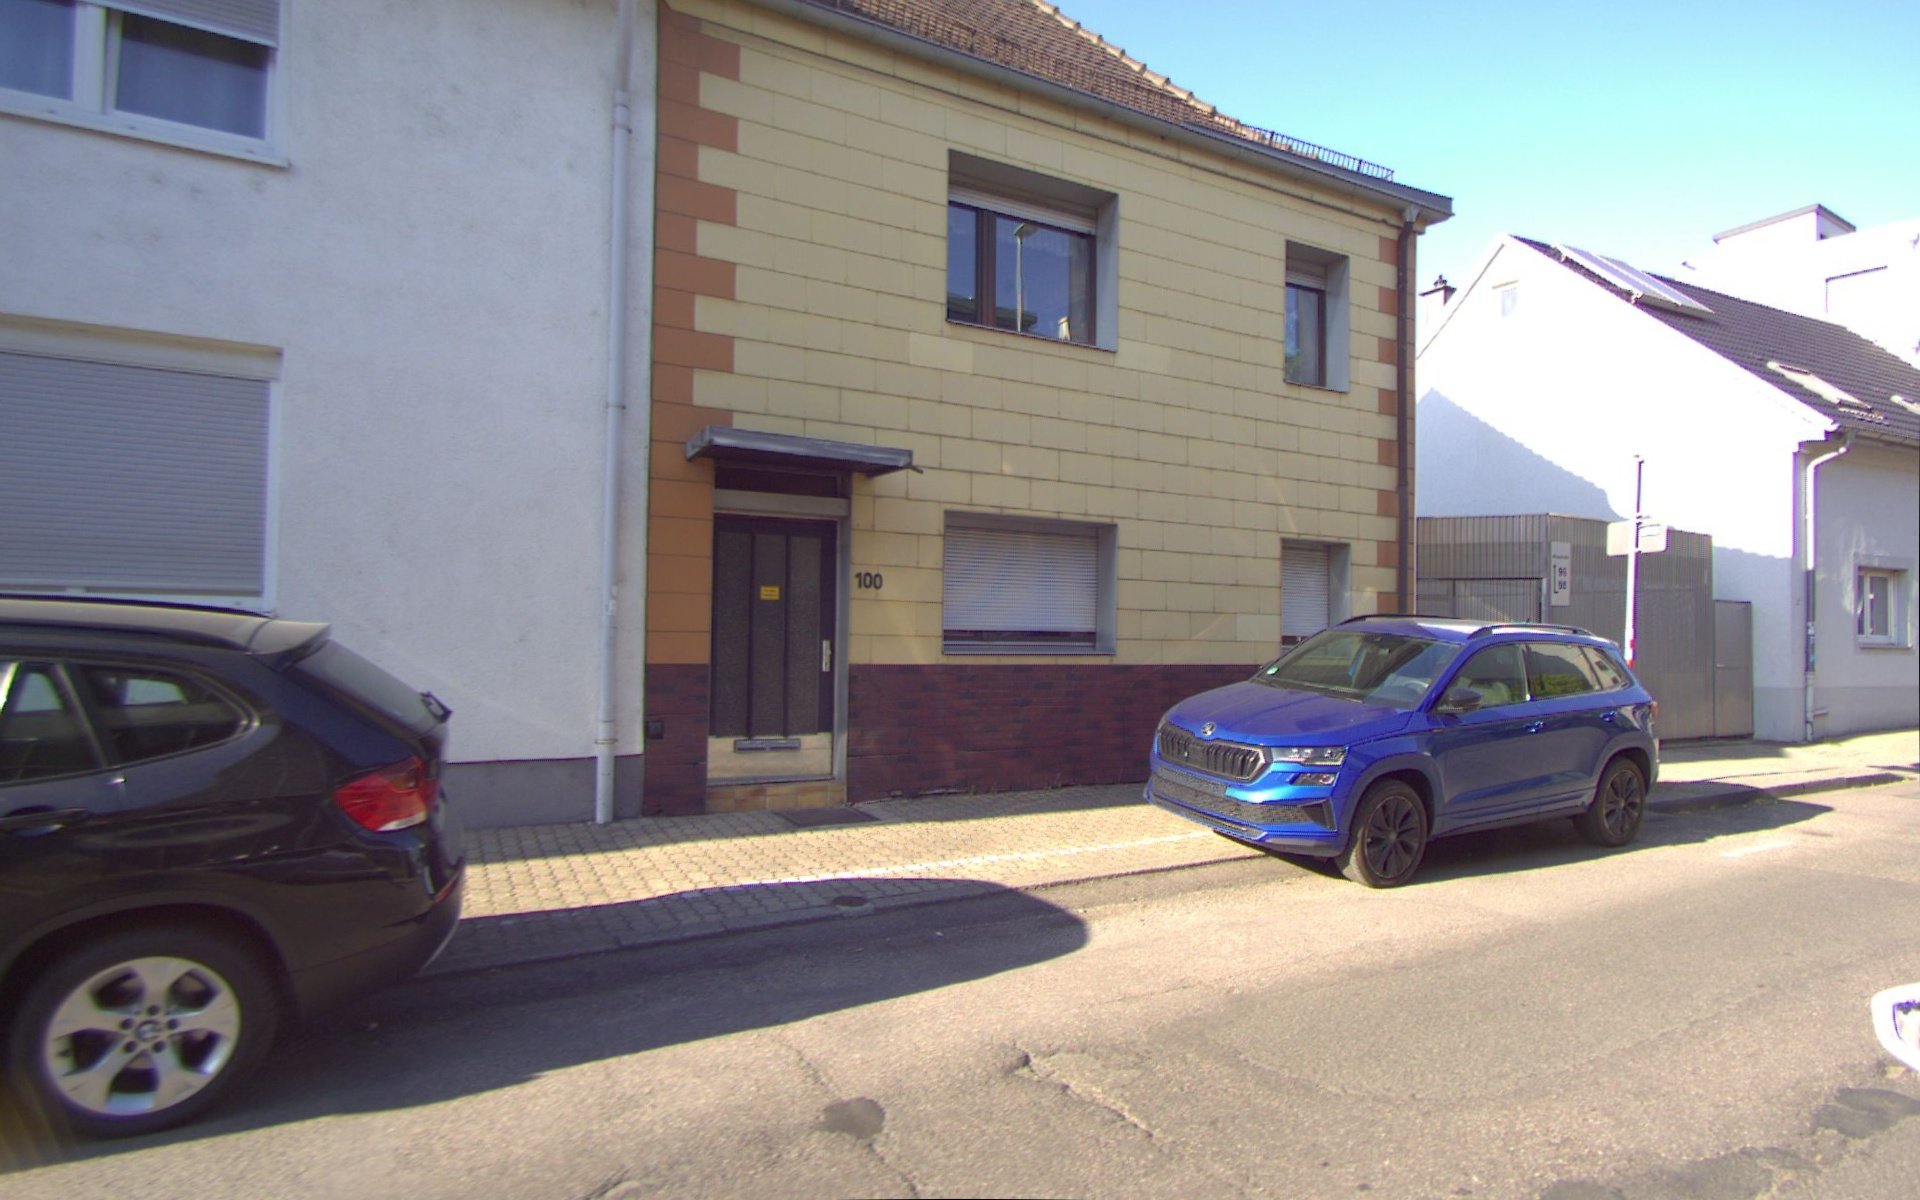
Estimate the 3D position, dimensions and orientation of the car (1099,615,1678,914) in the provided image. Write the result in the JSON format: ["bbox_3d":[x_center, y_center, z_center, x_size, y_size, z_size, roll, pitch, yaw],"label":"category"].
[{"bbox_3d":[3.234,0.946,7.413,4.143,1.608,1.800,0,1,-30],"label":"car"}]

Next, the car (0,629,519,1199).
[{"bbox_3d":[-3.810,0.934,3.169,4.283,1.608,1.849,1,1,-29],"label":"car"}]
